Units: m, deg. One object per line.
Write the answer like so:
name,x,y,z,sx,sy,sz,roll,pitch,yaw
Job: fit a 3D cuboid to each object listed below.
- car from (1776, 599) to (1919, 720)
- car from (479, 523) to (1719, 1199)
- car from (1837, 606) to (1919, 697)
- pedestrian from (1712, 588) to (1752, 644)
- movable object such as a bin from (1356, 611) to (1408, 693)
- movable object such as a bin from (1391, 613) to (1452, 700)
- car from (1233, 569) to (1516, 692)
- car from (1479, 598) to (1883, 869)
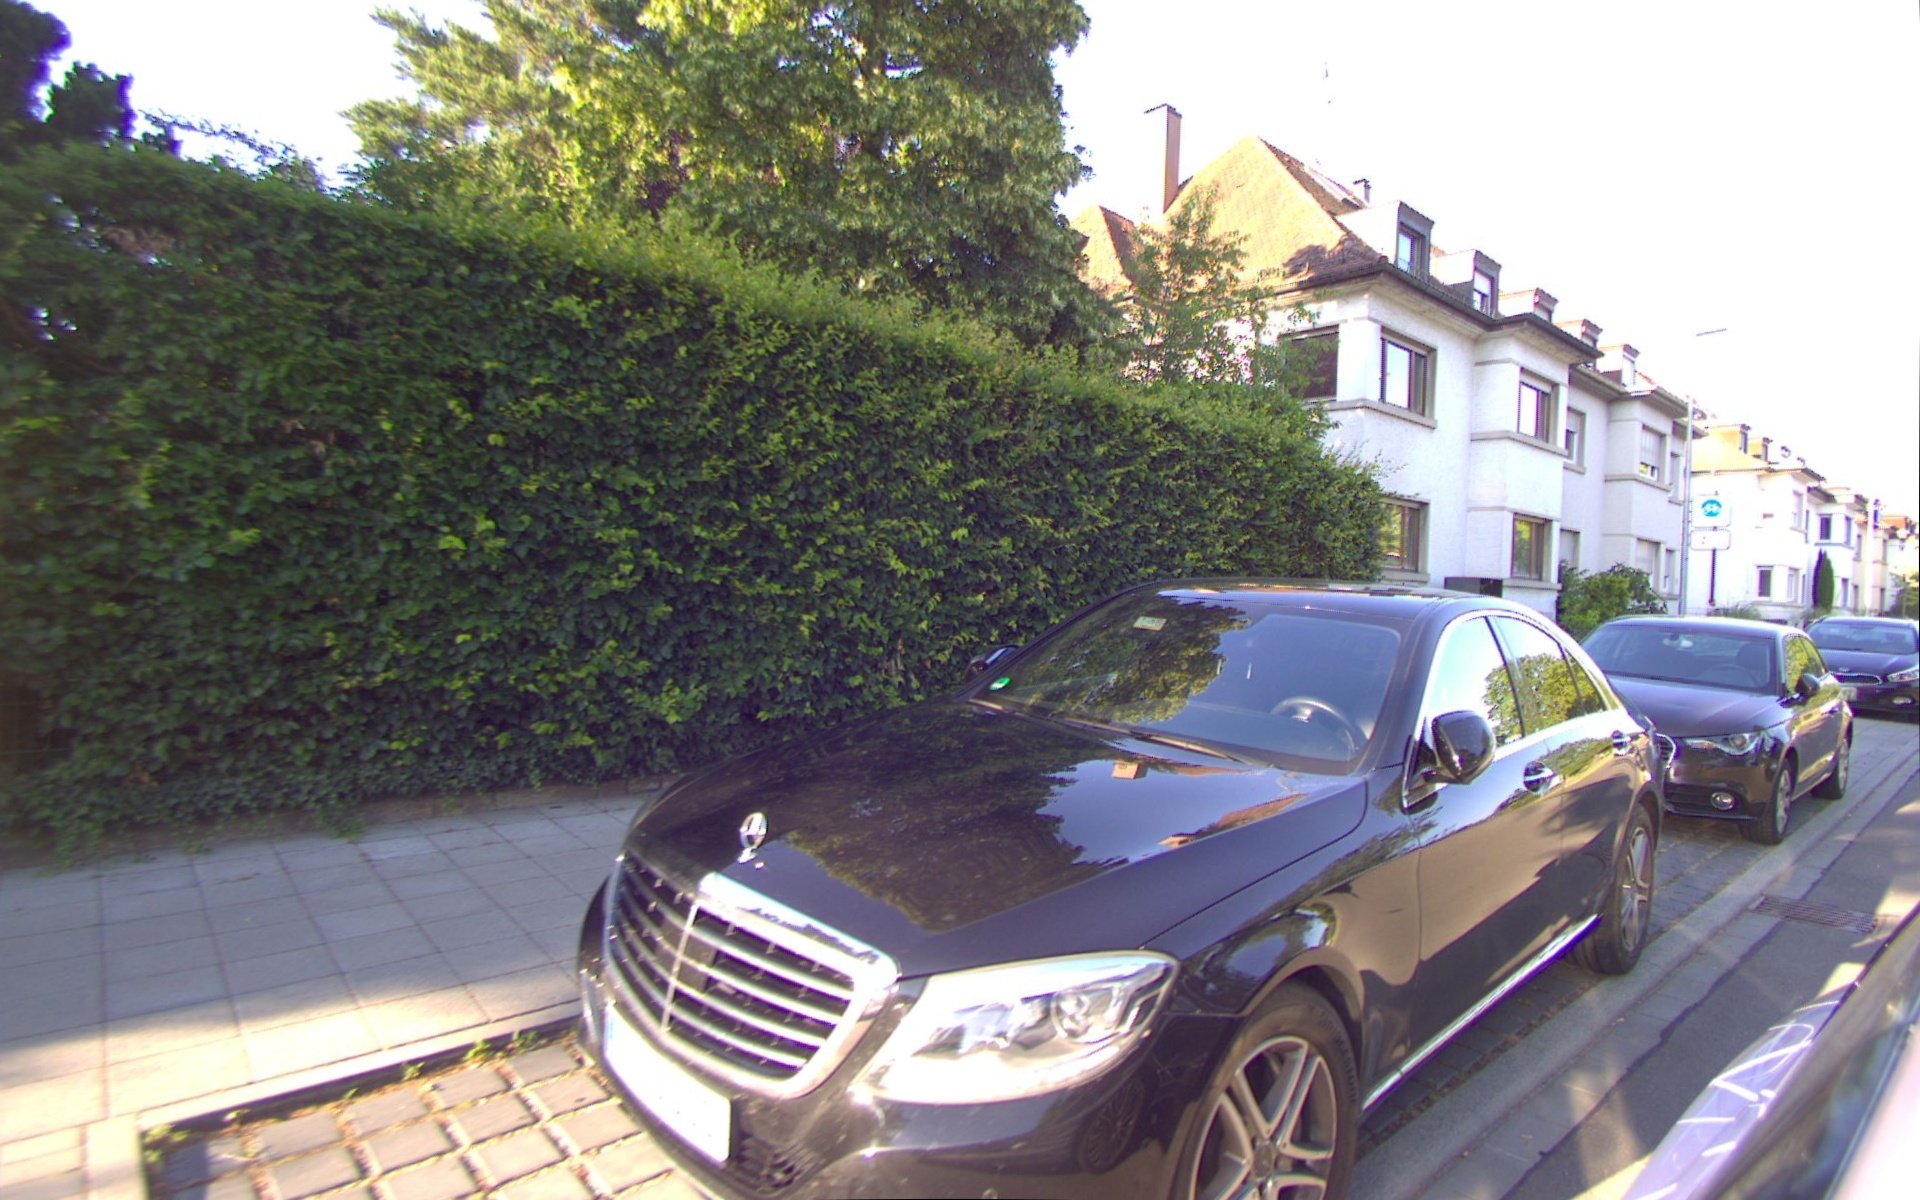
car,14.072,0.831,15.492,4.182,1.492,1.750,1,5,-43
car,1.098,0.662,3.671,4.791,1.561,1.861,1,2,-44
car,17.952,0.932,19.013,3.915,1.489,1.722,1,4,-43
pedestrian,29.042,0.585,38.097,1.081,2.039,0.856,2,1,34
movable object such as a bin,5.620,0.679,13.488,0.507,1.056,0.410,2,0,43
movable object such as a bin,5.932,0.706,12.996,0.507,1.056,0.649,2,0,43
car,6.351,0.380,15.747,1.752,1.514,3.638,1,3,-45
car,5.611,0.781,7.688,3.868,1.445,1.644,1,3,-42
